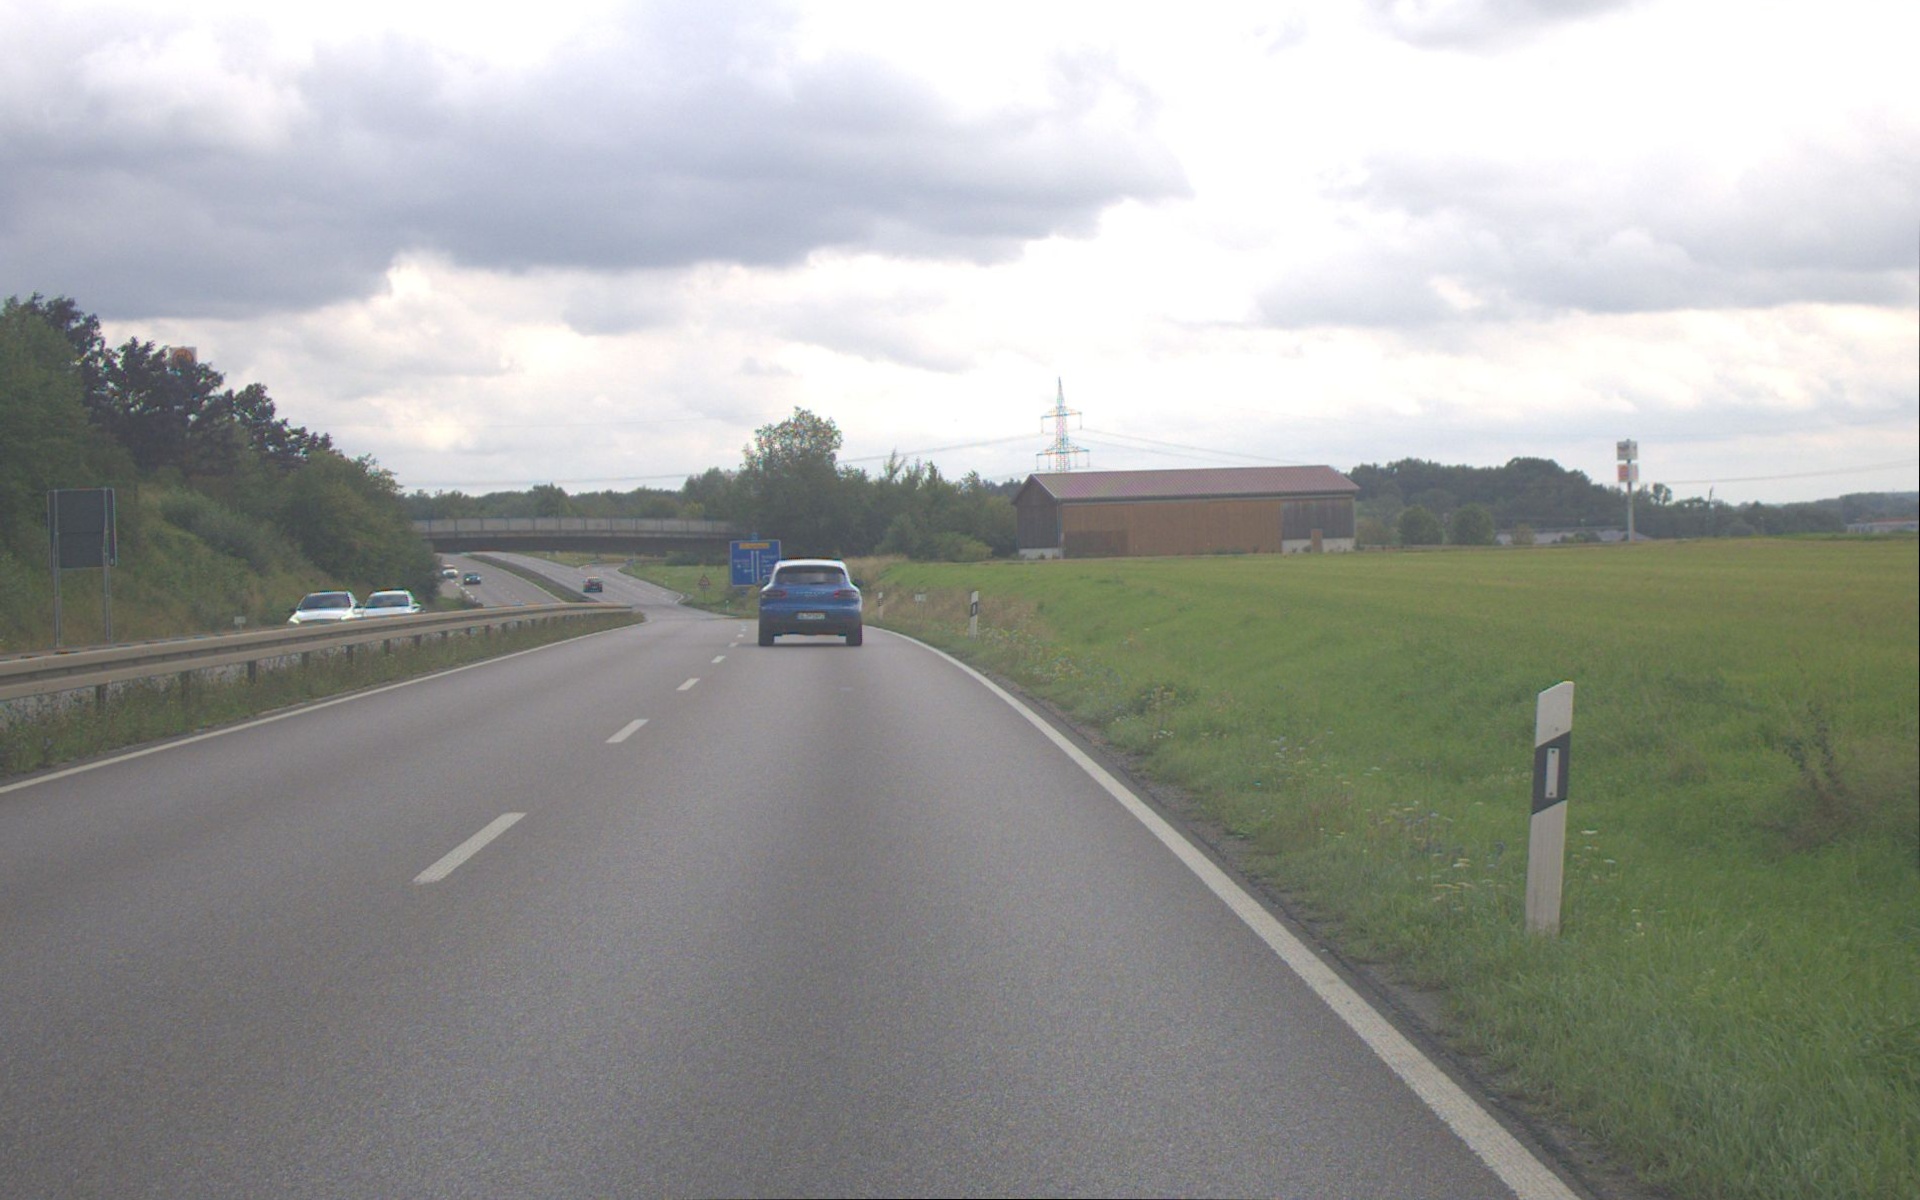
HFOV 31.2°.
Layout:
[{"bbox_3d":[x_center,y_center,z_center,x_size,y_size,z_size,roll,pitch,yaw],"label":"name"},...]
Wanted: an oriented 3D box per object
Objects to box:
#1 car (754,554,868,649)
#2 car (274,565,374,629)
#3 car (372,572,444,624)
[{"bbox_3d":[-2.848,-0.007,64.829,2.033,1.655,4.544,0,1,-4],"label":"car"},{"bbox_3d":[-17.450,-0.112,94.498,1.993,1.512,4.989,-1,2,-3],"label":"car"},{"bbox_3d":[-18.297,-0.082,114.123,1.920,1.512,4.464,-1,2,-4],"label":"car"}]
